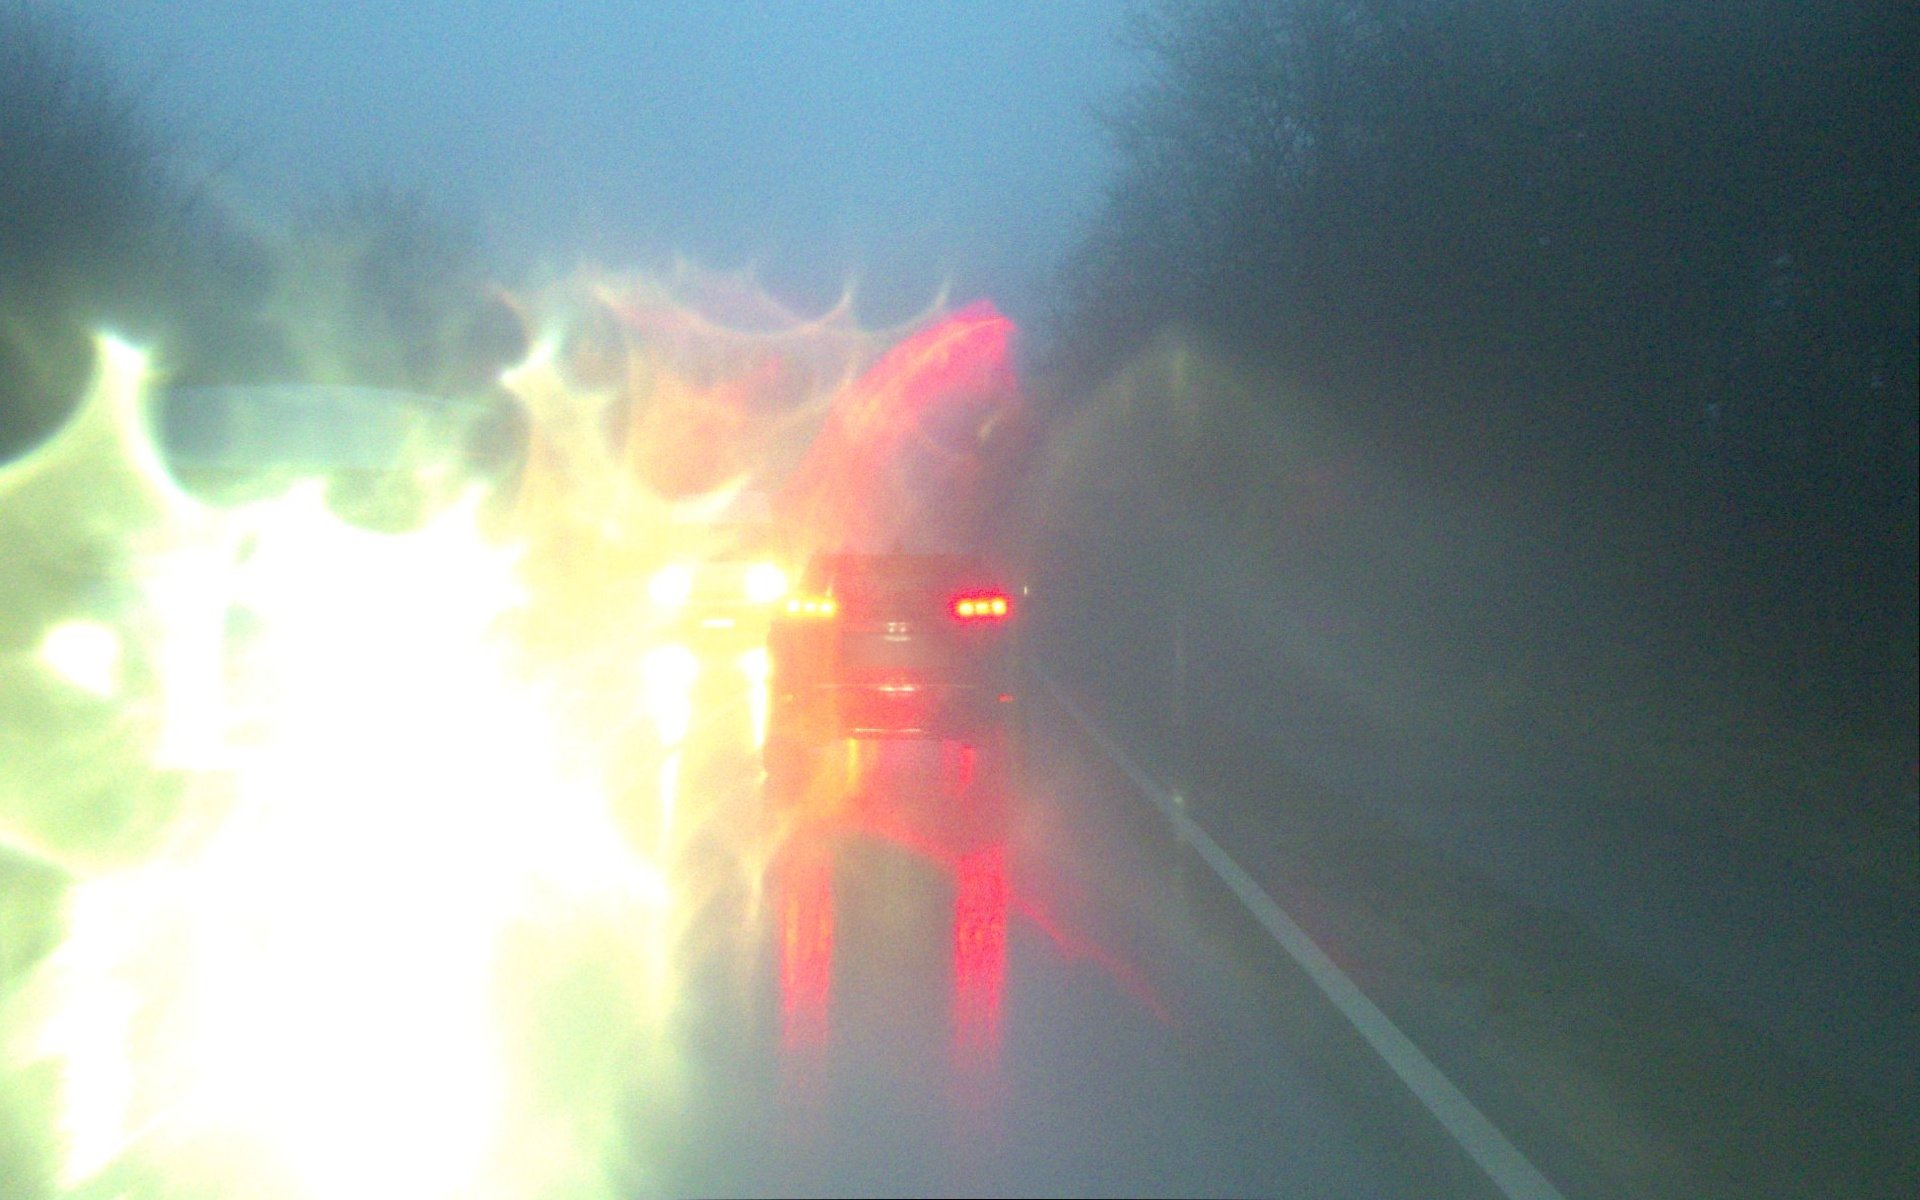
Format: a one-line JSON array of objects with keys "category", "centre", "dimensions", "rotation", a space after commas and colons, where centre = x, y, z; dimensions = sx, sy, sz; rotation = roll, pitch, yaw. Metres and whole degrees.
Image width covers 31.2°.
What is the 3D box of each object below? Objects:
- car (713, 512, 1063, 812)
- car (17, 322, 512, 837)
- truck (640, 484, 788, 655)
[{"category": "car", "centre": [-0.494, 0.377, 24.351], "dimensions": [2.198, 1.871, 4.827], "rotation": [1, 0, -1]}, {"category": "car", "centre": [-4.243, -0.138, 22.161], "dimensions": [2.073, 2.801, 6.654], "rotation": [1, 0, -2]}, {"category": "truck", "centre": [-4.200, -0.537, 59.703], "dimensions": [2.103, 2.762, 6.872], "rotation": [1, 1, -1]}]
